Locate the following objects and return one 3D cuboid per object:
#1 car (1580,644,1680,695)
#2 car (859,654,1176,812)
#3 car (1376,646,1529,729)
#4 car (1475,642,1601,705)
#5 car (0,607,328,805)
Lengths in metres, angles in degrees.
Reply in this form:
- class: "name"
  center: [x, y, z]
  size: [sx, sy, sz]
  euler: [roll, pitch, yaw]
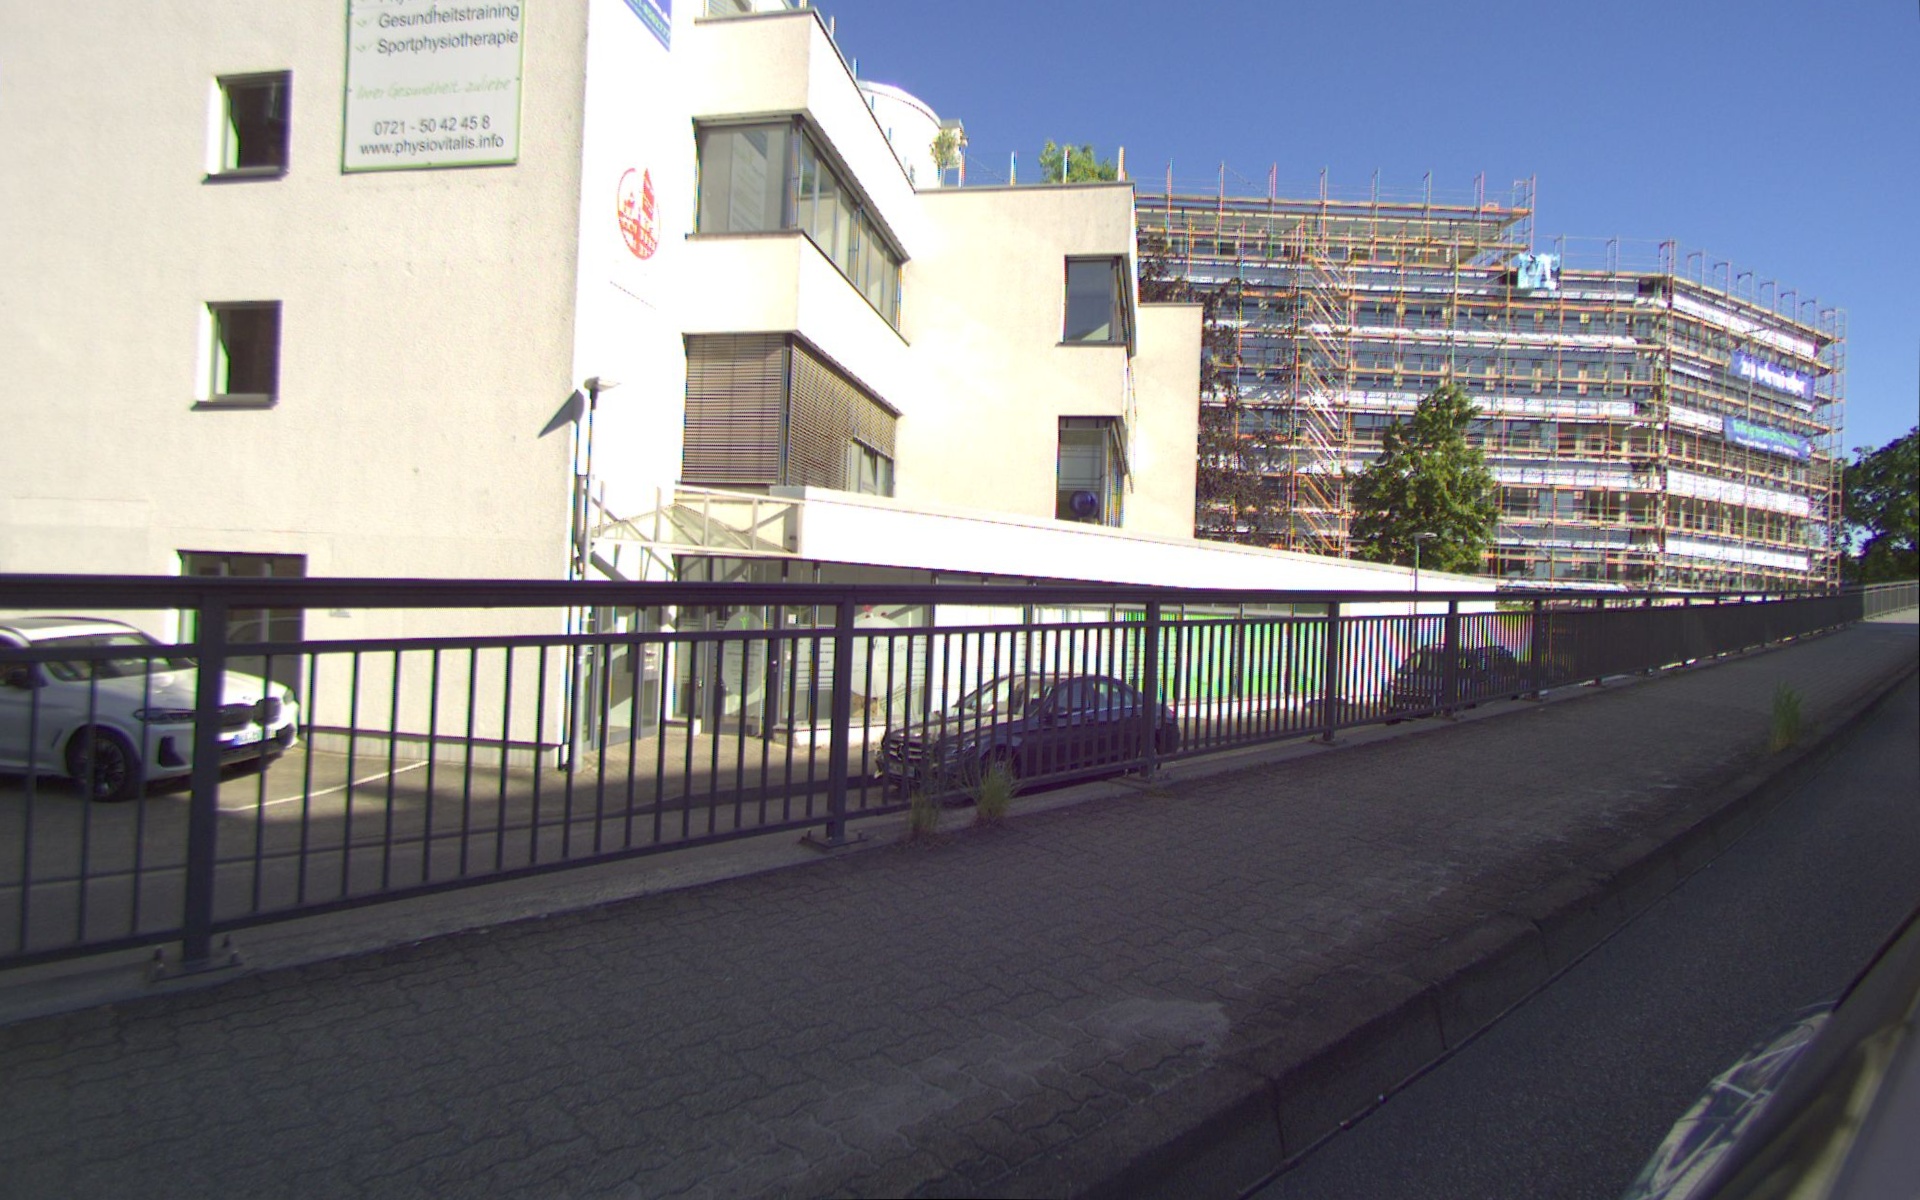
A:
- class: "car"
  center: [21.107, 2.137, 31.835]
  size: [3.931, 1.410, 1.723]
  euler: [1, -1, -42]
- class: "car"
  center: [0.833, 1.532, 12.839]
  size: [3.929, 1.541, 1.724]
  euler: [1, -1, -41]
- class: "car"
  center: [10.881, 1.835, 22.262]
  size: [3.931, 1.541, 1.723]
  euler: [1, -1, -42]
- class: "car"
  center: [15.002, 1.837, 26.193]
  size: [3.931, 1.410, 1.723]
  euler: [1, -1, -42]
- class: "car"
  center: [-9.490, 1.012, 10.865]
  size: [4.455, 1.707, 1.840]
  euler: [2, 0, 9]
